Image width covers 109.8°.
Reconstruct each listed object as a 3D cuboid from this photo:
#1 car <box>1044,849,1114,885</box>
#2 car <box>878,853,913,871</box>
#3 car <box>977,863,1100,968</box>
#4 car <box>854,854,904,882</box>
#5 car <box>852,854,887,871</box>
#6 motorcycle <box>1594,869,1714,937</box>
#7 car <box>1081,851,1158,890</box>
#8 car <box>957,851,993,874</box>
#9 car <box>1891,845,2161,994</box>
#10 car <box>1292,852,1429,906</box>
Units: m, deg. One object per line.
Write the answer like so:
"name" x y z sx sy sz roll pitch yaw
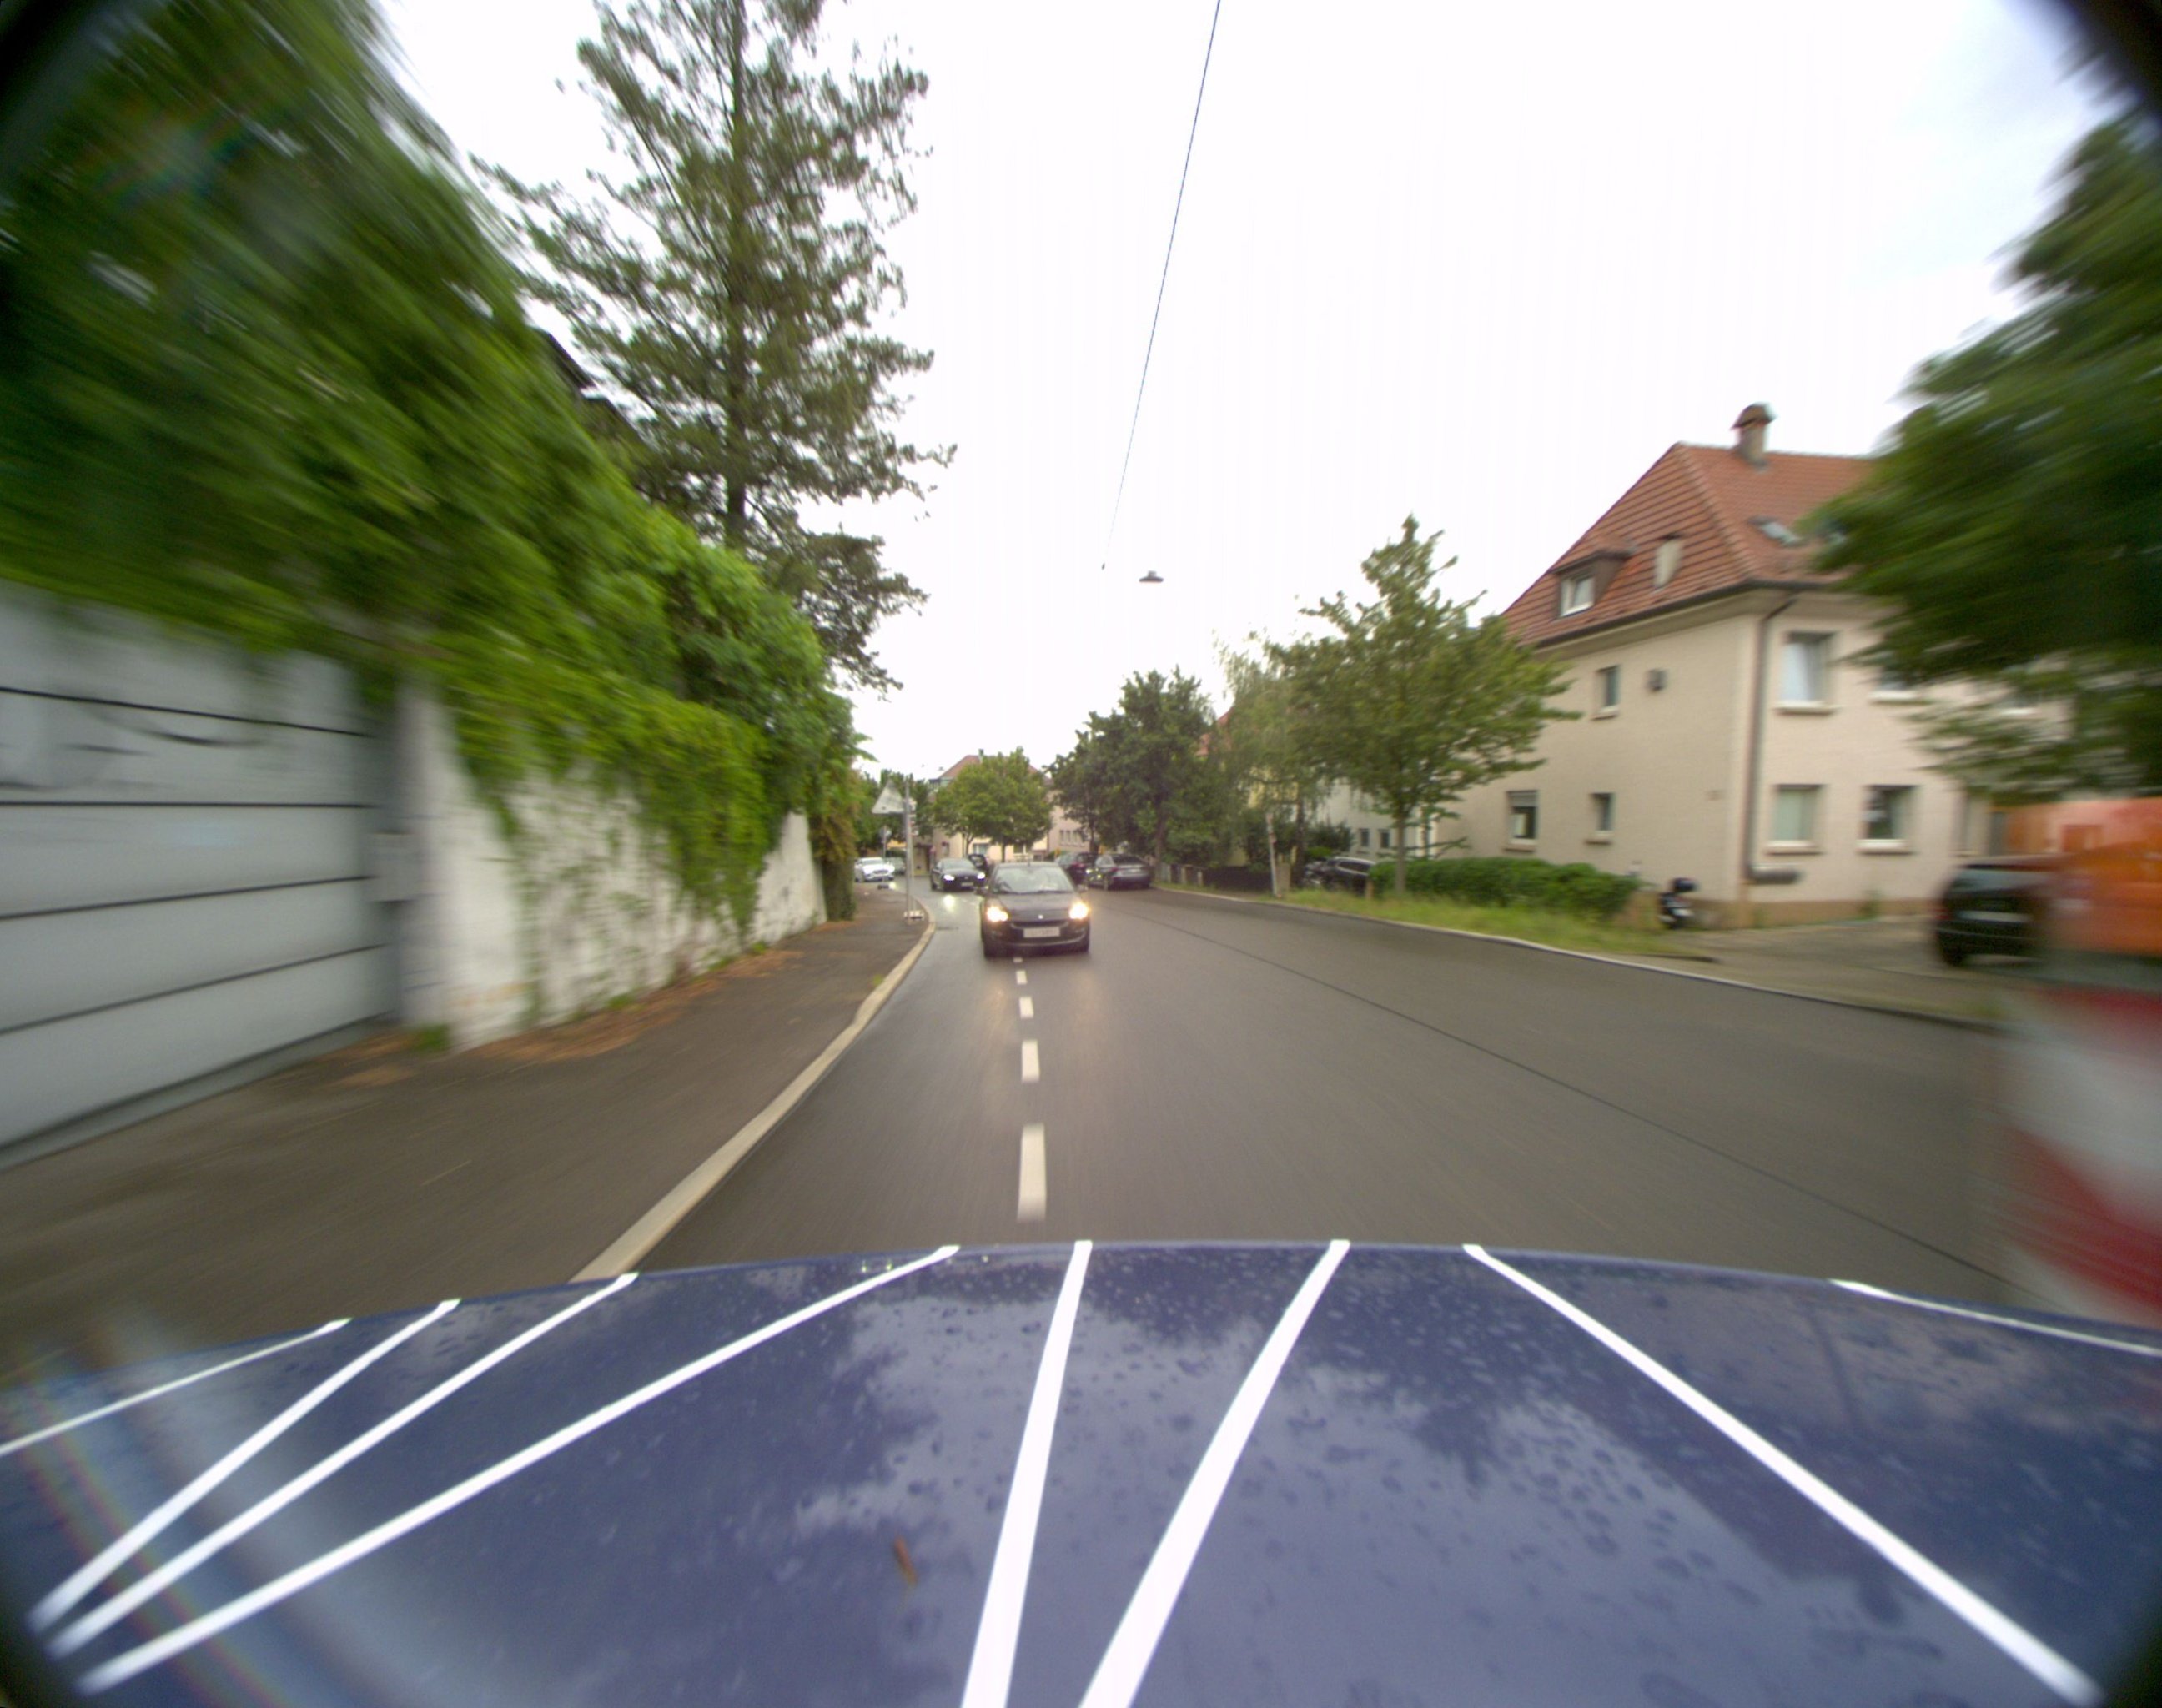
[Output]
"car" -0.166 0.555 35.908 1.739 1.475 4.521 -3 2 -22
"car" -16.868 0.726 69.072 1.726 1.537 4.283 0 0 -33
"car" -0.898 0.919 13.259 1.747 1.433 4.356 -2 0 -8
"car" -13.864 0.926 51.976 2.022 1.728 4.588 -5 2 -31
"car" -20.846 0.800 74.729 1.831 1.500 4.727 -2 1 -34
"motorcycle" 11.848 0.973 15.804 0.734 1.241 1.967 -2 1 -12
"car" 1.471 0.634 31.281 1.713 1.375 4.523 -3 2 -17
"car" -7.337 0.570 52.415 1.525 1.526 3.029 -1 0 -29
"car" 13.831 0.777 10.317 3.952 1.534 1.862 -4 1 -7
"car" 10.318 0.909 28.214 4.252 1.496 1.912 6 0 -7
